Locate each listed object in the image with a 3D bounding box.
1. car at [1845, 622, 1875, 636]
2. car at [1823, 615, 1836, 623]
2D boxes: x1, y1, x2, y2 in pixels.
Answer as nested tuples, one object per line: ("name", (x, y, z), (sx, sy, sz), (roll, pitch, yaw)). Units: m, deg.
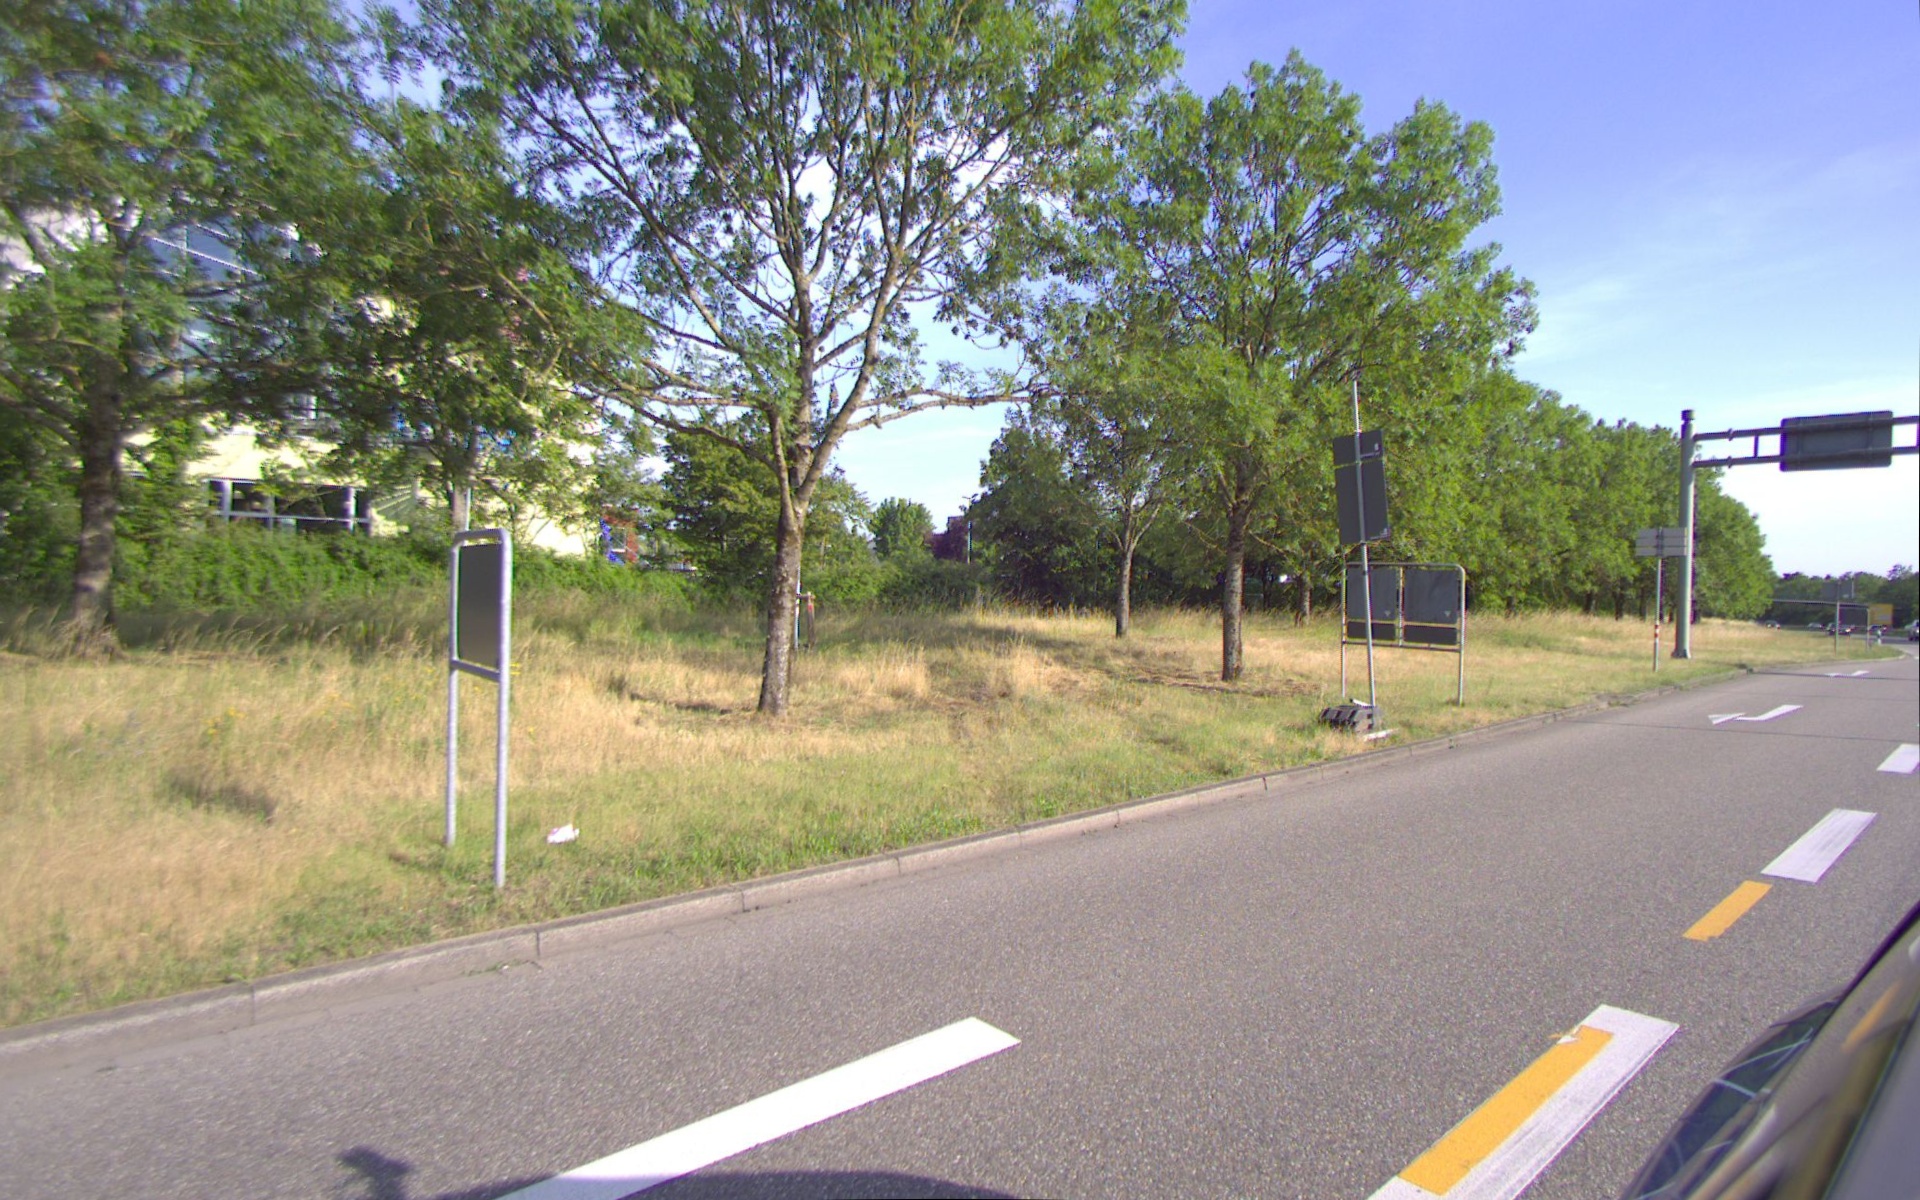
("car", (97.352, 3.124, 109.484), (1.890, 1.403, 4.301), (0, -1, 34))
("car", (167.453, 3.693, 194.846), (1.598, 1.459, 3.194), (0, -1, 35))
